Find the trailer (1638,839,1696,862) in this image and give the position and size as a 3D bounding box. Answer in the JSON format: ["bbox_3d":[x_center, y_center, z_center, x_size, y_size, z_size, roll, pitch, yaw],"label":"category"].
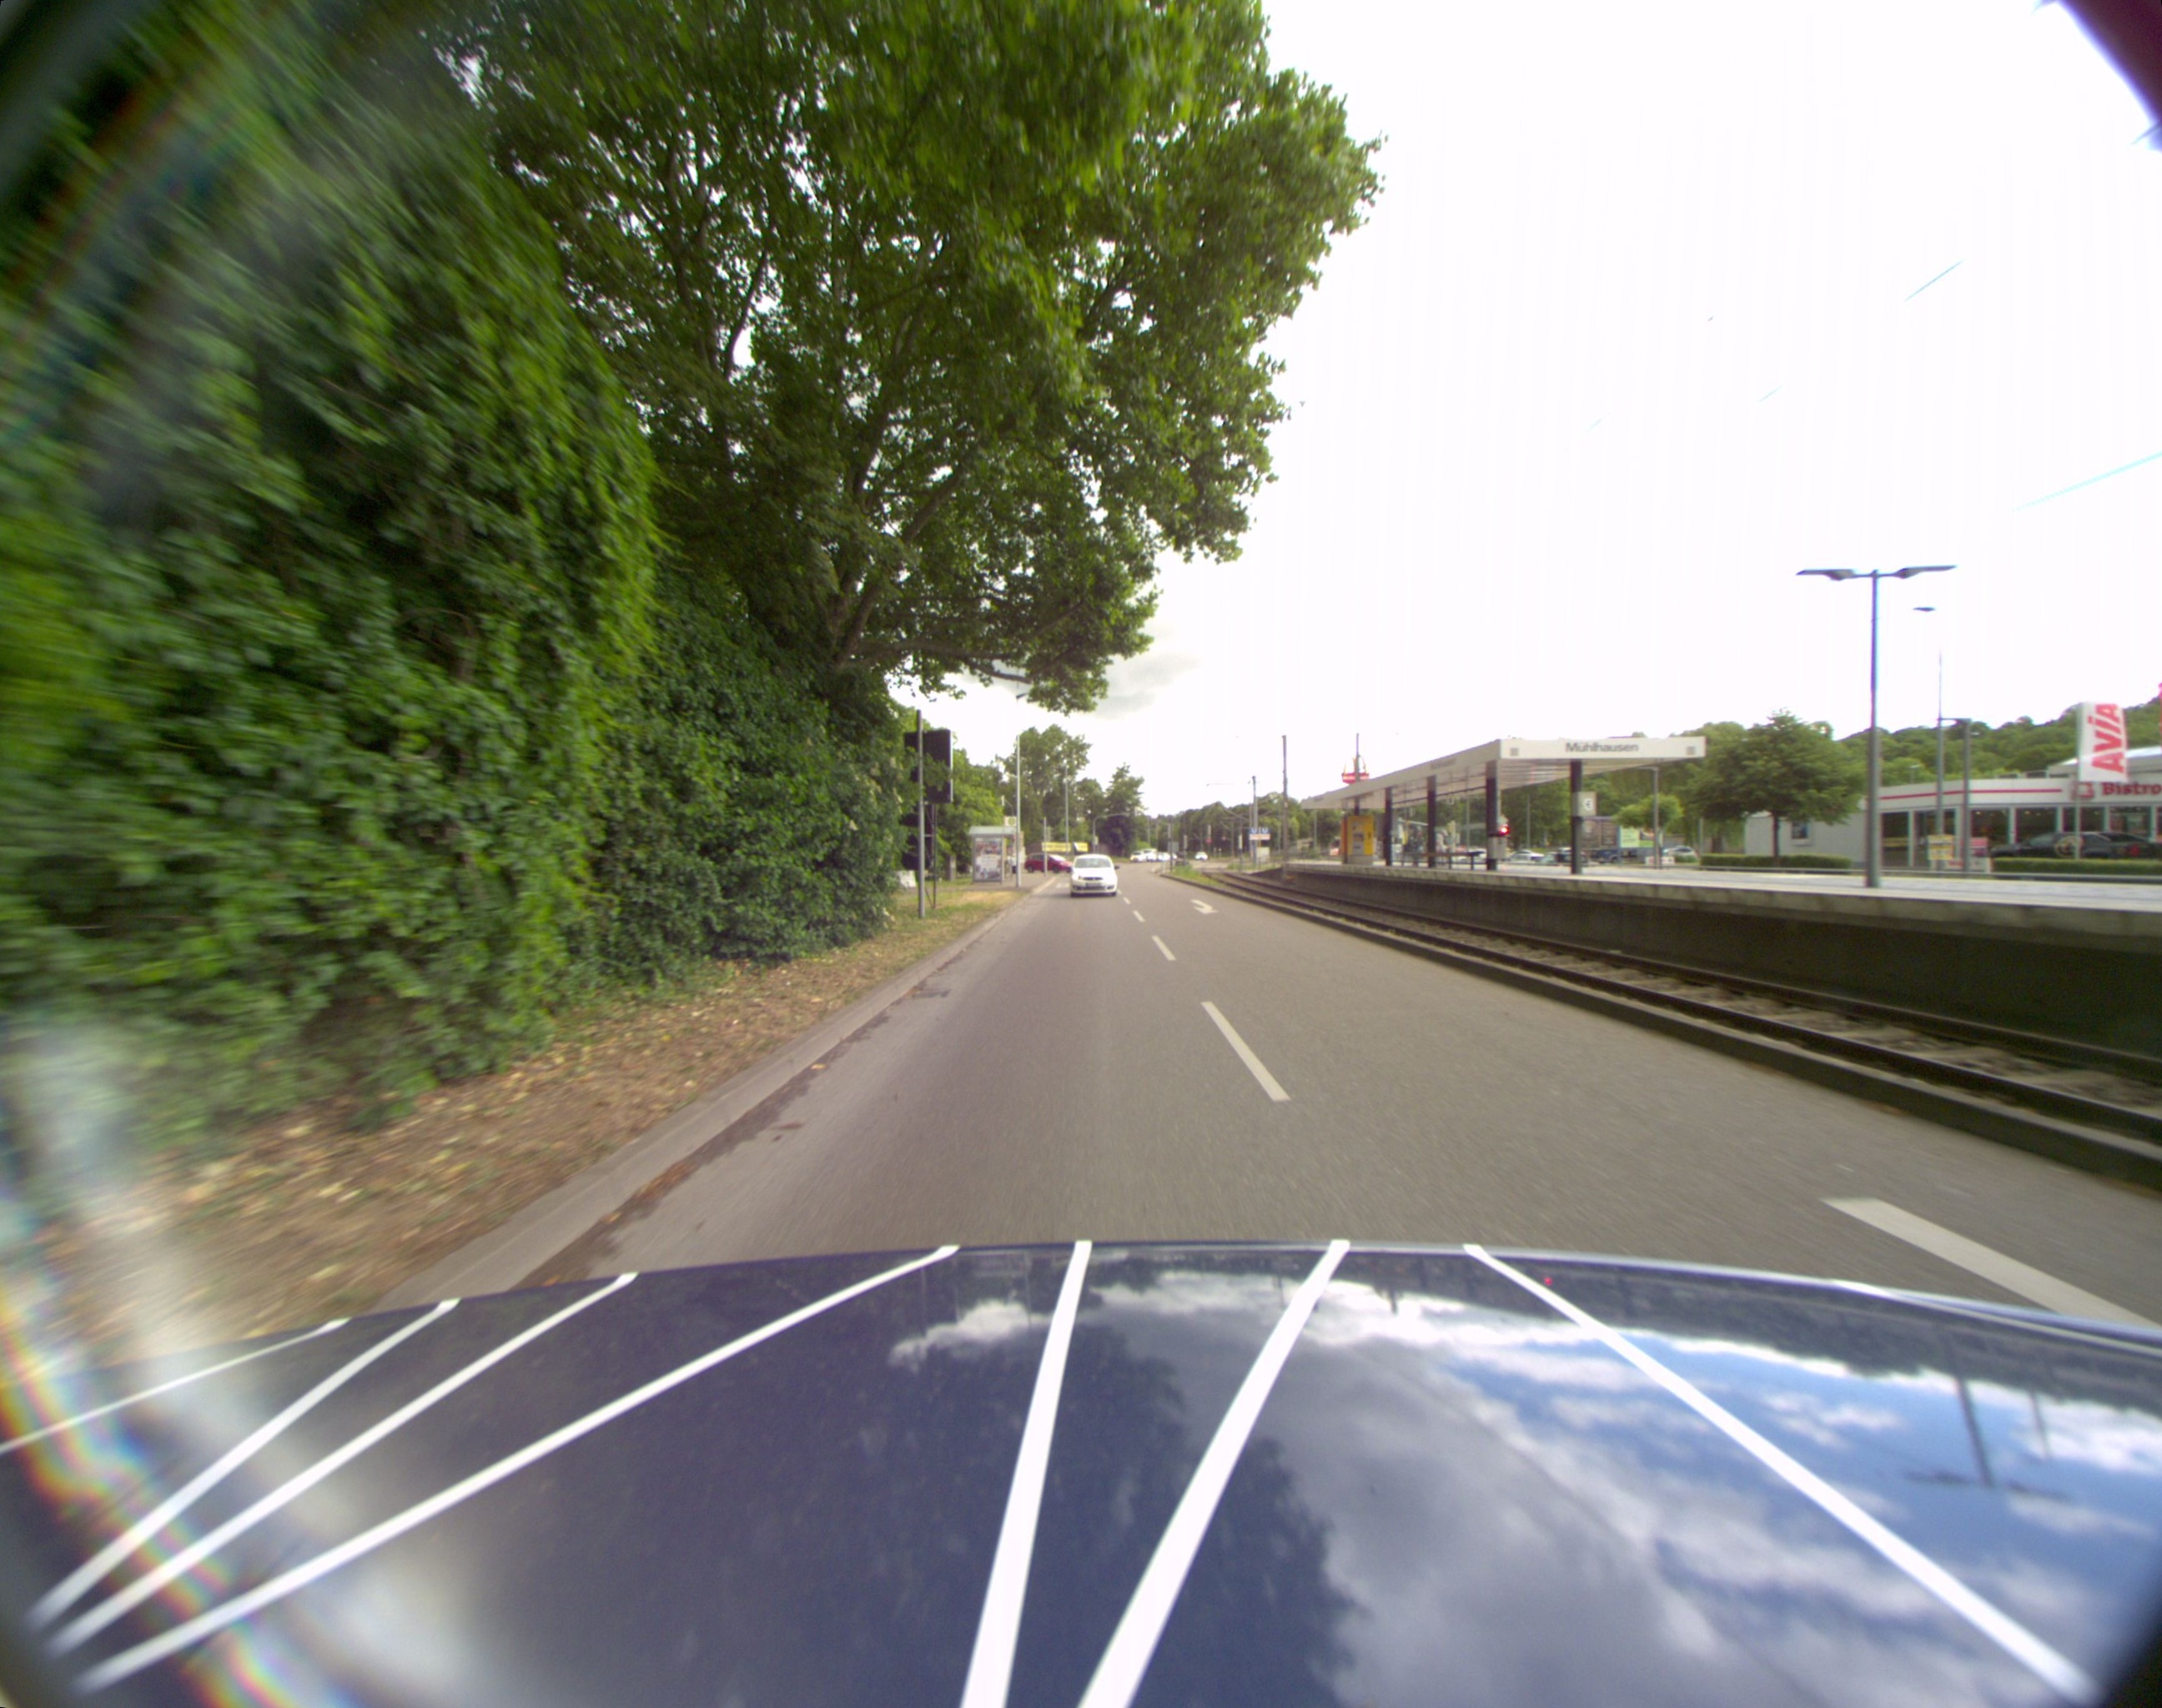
[{"bbox_3d":[57.462,-0.338,74.490,4.388,2.245,1.560,1,1,1],"label":"trailer"}]

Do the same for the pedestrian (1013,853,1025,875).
[{"bbox_3d":[-4.268,0.665,52.170,0.755,1.505,0.671,1,1,1],"label":"pedestrian"}]

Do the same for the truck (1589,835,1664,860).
[{"bbox_3d":[55.447,-0.672,77.268,5.820,2.480,2.387,0,1,3],"label":"truck"}]

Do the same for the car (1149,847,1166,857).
[{"bbox_3d":[11.799,-0.334,116.862,1.996,1.527,4.004,1,1,13],"label":"car"}]

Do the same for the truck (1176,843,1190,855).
[{"bbox_3d":[30.995,-1.677,231.512,3.435,3.539,8.699,1,1,2],"label":"truck"}]

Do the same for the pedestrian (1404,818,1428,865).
[{"bbox_3d":[11.644,-0.441,26.416,0.585,1.611,0.572,1,1,2],"label":"pedestrian"}]

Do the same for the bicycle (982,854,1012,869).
[{"bbox_3d":[-5.348,0.453,48.428,1.871,0.919,0.545,0,1,2],"label":"bicycle"}]

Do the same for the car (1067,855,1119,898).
[{"bbox_3d":[0.388,0.774,27.860,1.674,1.439,3.603,-2,0,-2],"label":"car"}]

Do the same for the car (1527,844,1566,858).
[{"bbox_3d":[54.463,-0.370,88.888,3.641,1.545,1.726,1,1,-8],"label":"car"}]

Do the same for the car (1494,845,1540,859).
[{"bbox_3d":[49.081,-0.242,85.647,4.419,1.424,1.794,-1,1,-12],"label":"car"}]

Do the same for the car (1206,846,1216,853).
[{"bbox_3d":[37.129,-1.290,217.295,1.998,2.002,3.999,1,1,1],"label":"car"}]

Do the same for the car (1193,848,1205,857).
[{"bbox_3d":[20.210,-0.258,130.078,1.965,1.543,4.003,1,1,10],"label":"car"}]

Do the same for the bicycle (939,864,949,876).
[{"bbox_3d":[-9.042,1.047,50.139,0.478,0.803,1.514,-2,0,-4],"label":"bicycle"}]

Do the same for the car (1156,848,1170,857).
[{"bbox_3d":[13.263,-0.251,122.670,1.829,1.543,4.003,1,1,11],"label":"car"}]

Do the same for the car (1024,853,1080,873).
[{"bbox_3d":[-2.466,0.724,64.223,4.495,1.607,1.901,0,1,32],"label":"car"}]

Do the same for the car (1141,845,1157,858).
[{"bbox_3d":[9.732,-0.330,108.437,1.807,1.814,4.004,-1,1,13],"label":"car"}]

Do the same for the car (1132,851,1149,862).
[{"bbox_3d":[8.012,0.288,102.268,1.718,1.410,4.003,1,1,12],"label":"car"}]

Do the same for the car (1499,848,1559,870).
[{"bbox_3d":[28.917,0.270,49.153,1.617,1.342,4.030,-1,0,2],"label":"car"}]

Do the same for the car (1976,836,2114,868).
[{"bbox_3d":[42.671,-0.086,33.772,1.616,1.342,3.636,-1,0,3],"label":"car"}]

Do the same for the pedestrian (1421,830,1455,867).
[{"bbox_3d":[11.581,-0.179,24.664,0.771,1.182,0.728,0,1,5],"label":"pedestrian"}]

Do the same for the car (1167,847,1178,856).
[{"bbox_3d":[16.976,-0.435,141.499,1.829,1.543,4.003,1,1,10],"label":"car"}]
